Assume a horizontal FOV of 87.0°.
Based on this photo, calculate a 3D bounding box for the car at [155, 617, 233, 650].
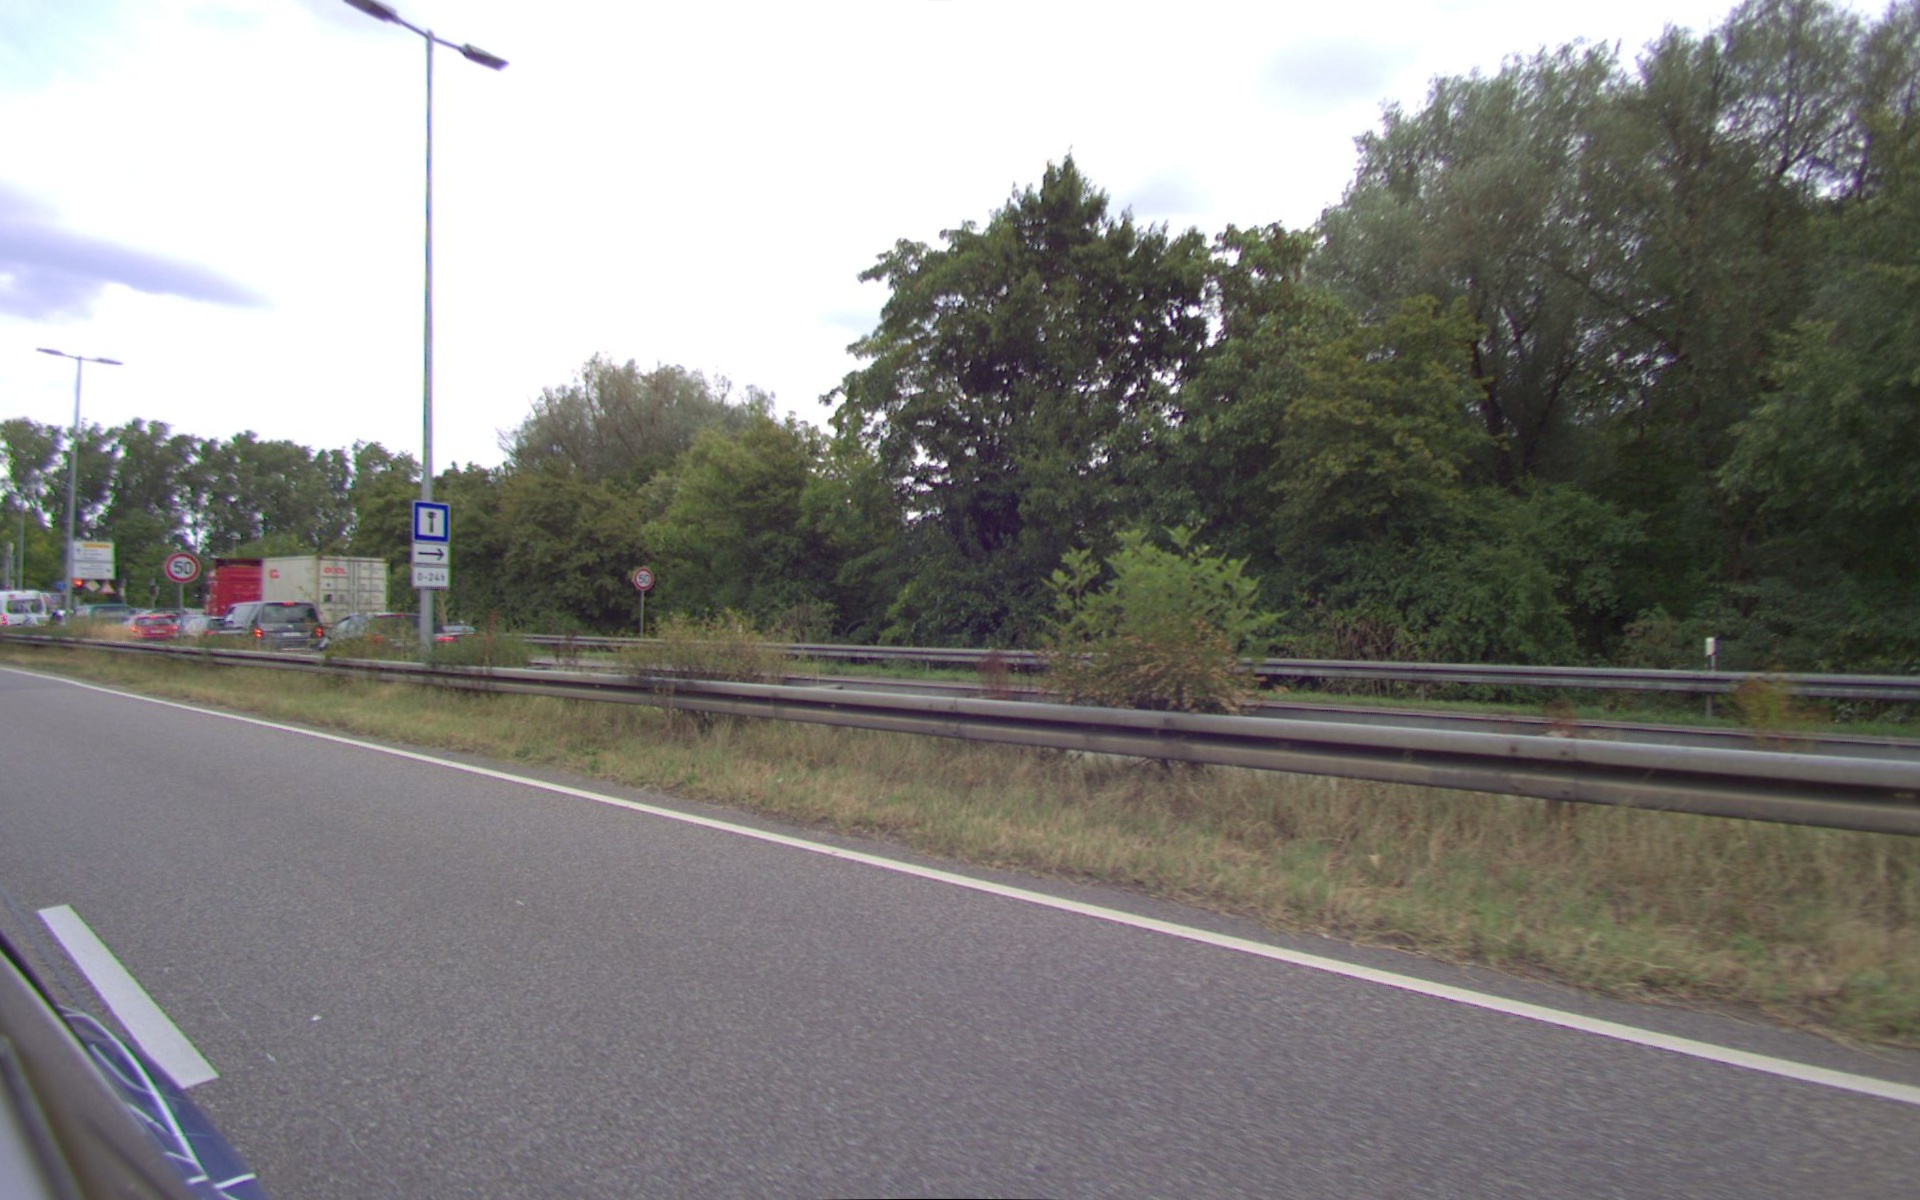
[{"bbox_3d":[-37.486,1.620,49.508,4.267,1.477,1.789,0,0,34],"label":"car"}]

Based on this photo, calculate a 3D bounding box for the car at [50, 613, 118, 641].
[{"bbox_3d":[-52.514,1.572,60.658,4.526,1.558,1.977,0,0,34],"label":"car"}]

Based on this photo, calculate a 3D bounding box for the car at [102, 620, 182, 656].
[{"bbox_3d":[-35.547,1.618,43.939,4.119,1.442,1.787,0,0,37],"label":"car"}]

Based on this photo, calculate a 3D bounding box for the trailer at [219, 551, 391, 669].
[{"bbox_3d":[-26.229,0.351,40.226,10.759,4.178,2.510,0,0,39],"label":"trailer"}]

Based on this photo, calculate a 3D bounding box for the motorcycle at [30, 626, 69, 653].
[{"bbox_3d":[-44.844,1.947,49.835,2.319,1.234,0.793,0,0,32],"label":"motorcycle"}]

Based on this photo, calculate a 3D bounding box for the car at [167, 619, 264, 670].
[{"bbox_3d":[-27.660,1.598,37.564,4.329,1.679,1.823,0,0,38],"label":"car"}]

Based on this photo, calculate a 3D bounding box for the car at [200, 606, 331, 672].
[{"bbox_3d":[-21.842,1.140,31.733,5.272,1.877,1.990,0,0,39],"label":"car"}]

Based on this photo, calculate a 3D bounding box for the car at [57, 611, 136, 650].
[{"bbox_3d":[-41.137,1.416,48.180,4.951,1.742,1.788,0,0,36],"label":"car"}]

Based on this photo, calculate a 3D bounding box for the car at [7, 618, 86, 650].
[{"bbox_3d":[-47.348,1.730,52.440,4.387,1.510,1.978,0,0,33],"label":"car"}]

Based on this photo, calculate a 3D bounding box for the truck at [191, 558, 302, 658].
[{"bbox_3d":[-31.330,0.318,44.384,5.617,4.114,2.543,0,0,39],"label":"truck"}]

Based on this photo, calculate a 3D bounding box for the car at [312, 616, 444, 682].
[{"bbox_3d":[-15.036,1.192,26.081,3.937,1.517,1.749,0,0,40],"label":"car"}]

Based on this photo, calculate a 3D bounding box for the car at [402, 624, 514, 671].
[{"bbox_3d":[-16.036,1.464,32.253,3.998,1.298,1.801,0,0,41],"label":"car"}]

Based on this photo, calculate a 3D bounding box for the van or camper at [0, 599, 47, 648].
[{"bbox_3d":[-53.811,1.262,56.801,6.473,2.608,2.144,0,0,32],"label":"van or camper"}]

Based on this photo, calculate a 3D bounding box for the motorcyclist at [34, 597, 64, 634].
[{"bbox_3d":[-44.817,0.758,49.799,0.922,1.837,0.858,0,0,32],"label":"motorcyclist"}]
